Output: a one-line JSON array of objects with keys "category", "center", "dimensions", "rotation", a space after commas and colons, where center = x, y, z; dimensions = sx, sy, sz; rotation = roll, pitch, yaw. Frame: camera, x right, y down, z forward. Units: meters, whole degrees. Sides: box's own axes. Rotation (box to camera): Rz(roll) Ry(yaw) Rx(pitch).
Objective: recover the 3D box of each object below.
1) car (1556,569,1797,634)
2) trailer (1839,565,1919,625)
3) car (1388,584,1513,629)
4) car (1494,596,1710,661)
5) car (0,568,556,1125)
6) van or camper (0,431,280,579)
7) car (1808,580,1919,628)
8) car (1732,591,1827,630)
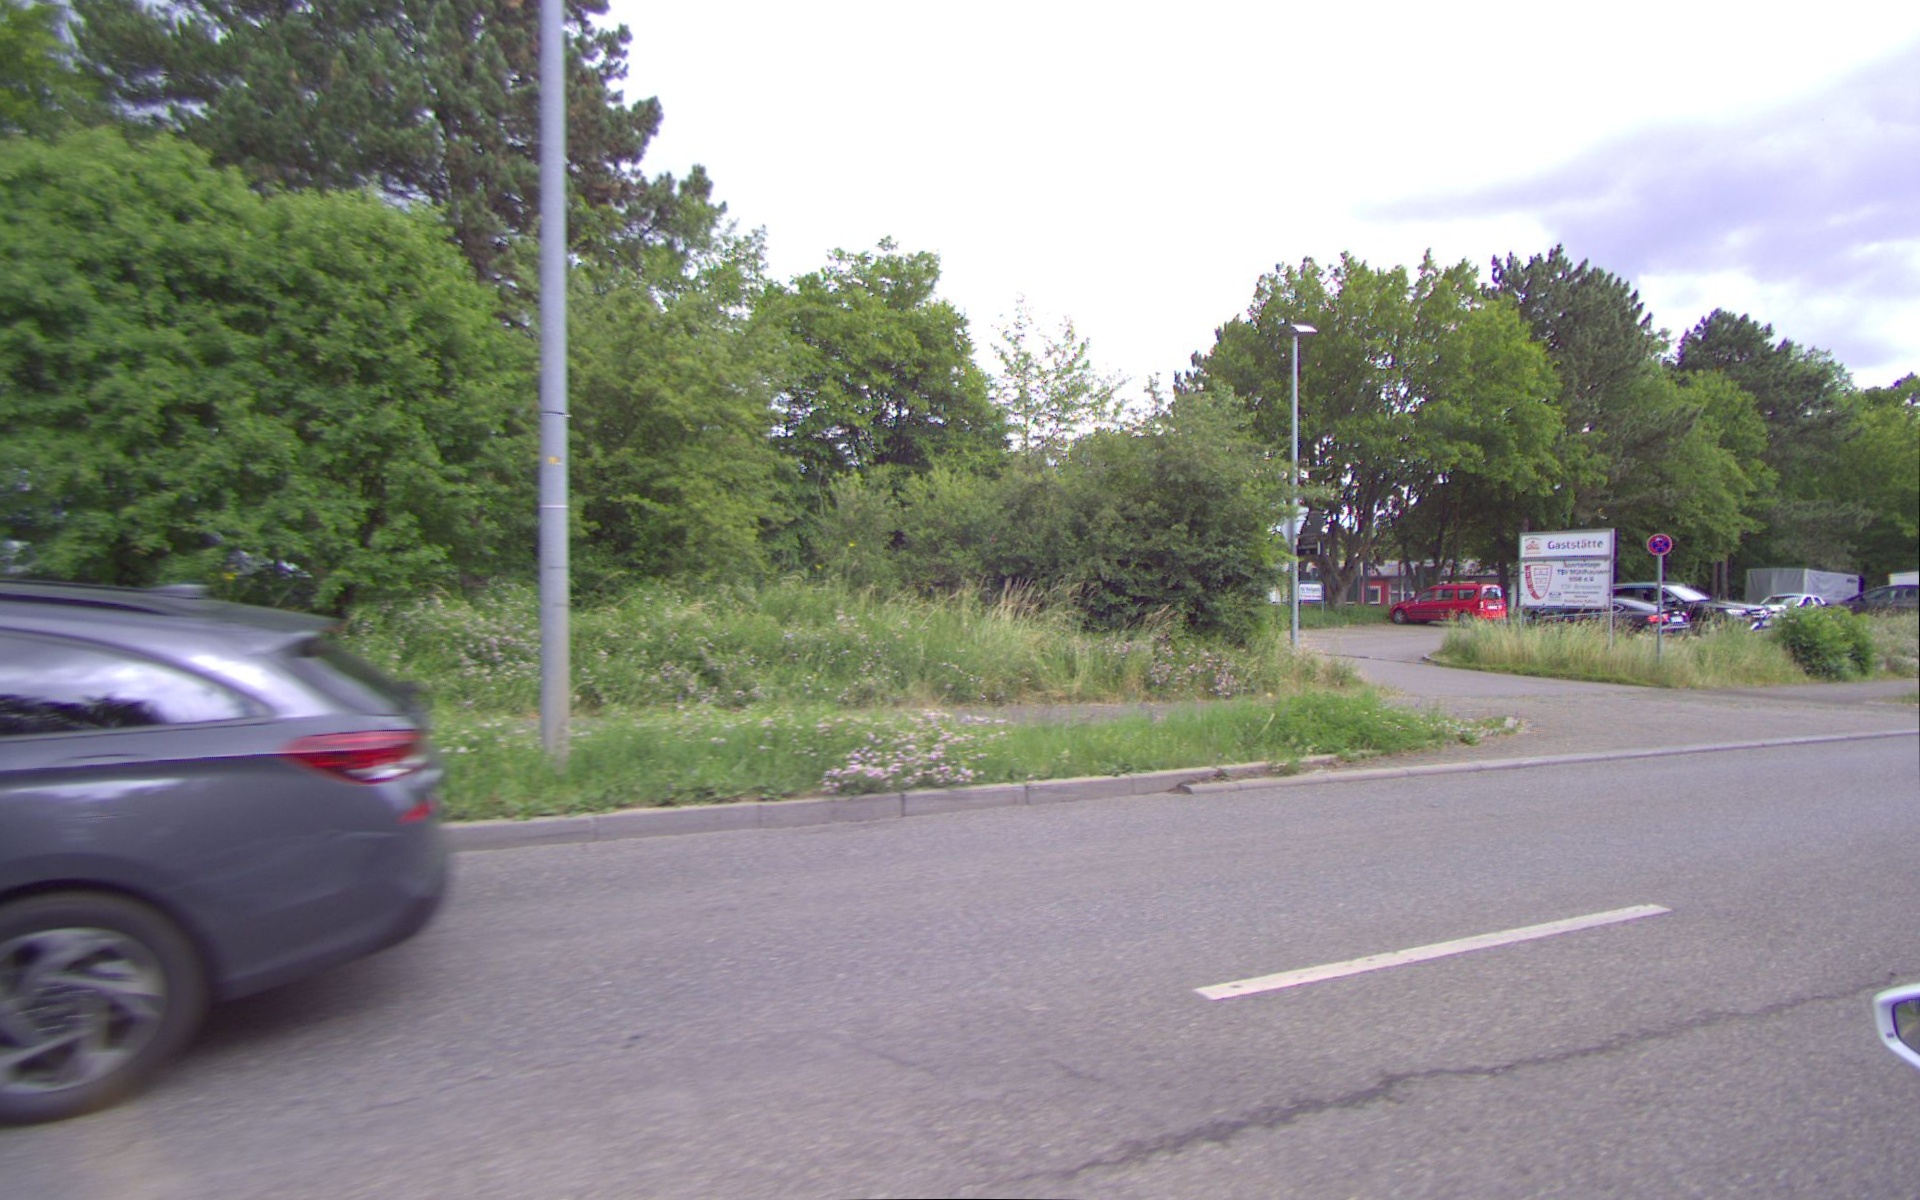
[{"category": "car", "center": [19.334, 0.062, 27.360], "dimensions": [2.181, 1.606, 4.902], "rotation": [1, 0, -30]}, {"category": "trailer", "center": [33.037, -0.158, 34.450], "dimensions": [1.883, 2.040, 3.973], "rotation": [0, 0, -26]}, {"category": "car", "center": [19.111, 0.252, 39.298], "dimensions": [1.979, 1.684, 3.962], "rotation": [1, 0, -34]}, {"category": "car", "center": [15.365, 0.632, 24.233], "dimensions": [1.977, 1.416, 3.934], "rotation": [0, 0, -31]}, {"category": "car", "center": [-3.701, 0.628, 3.089], "dimensions": [4.372, 1.457, 1.985], "rotation": [0, 1, -29]}, {"category": "van or camper", "center": [-12.849, -1.320, 14.702], "dimensions": [4.571, 1.902, 1.986], "rotation": [0, 0, -28]}, {"category": "car", "center": [30.586, 0.145, 32.654], "dimensions": [1.816, 1.468, 4.287], "rotation": [1, -2, -33]}, {"category": "car", "center": [34.561, 0.444, 42.369], "dimensions": [3.618, 1.606, 1.878], "rotation": [1, 0, -28]}]
